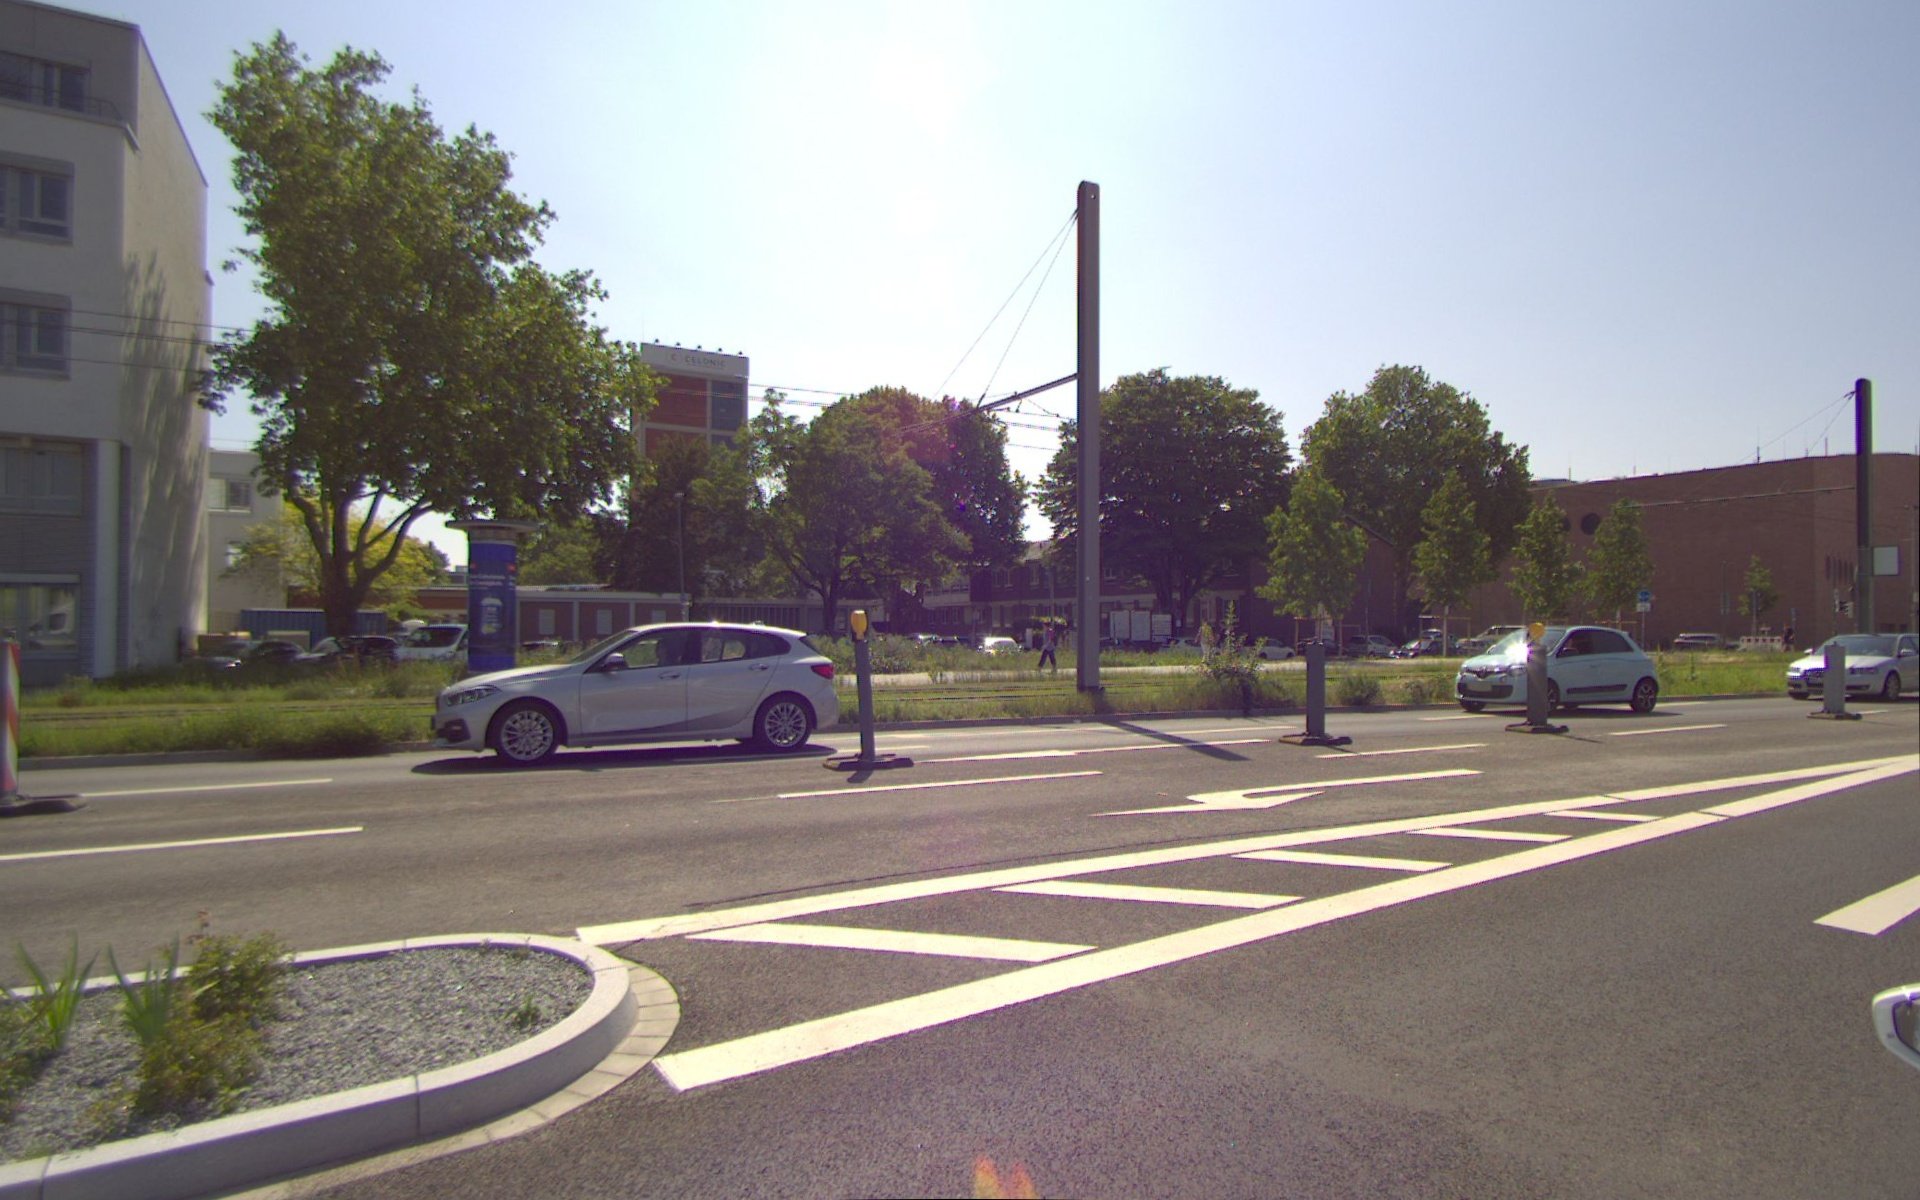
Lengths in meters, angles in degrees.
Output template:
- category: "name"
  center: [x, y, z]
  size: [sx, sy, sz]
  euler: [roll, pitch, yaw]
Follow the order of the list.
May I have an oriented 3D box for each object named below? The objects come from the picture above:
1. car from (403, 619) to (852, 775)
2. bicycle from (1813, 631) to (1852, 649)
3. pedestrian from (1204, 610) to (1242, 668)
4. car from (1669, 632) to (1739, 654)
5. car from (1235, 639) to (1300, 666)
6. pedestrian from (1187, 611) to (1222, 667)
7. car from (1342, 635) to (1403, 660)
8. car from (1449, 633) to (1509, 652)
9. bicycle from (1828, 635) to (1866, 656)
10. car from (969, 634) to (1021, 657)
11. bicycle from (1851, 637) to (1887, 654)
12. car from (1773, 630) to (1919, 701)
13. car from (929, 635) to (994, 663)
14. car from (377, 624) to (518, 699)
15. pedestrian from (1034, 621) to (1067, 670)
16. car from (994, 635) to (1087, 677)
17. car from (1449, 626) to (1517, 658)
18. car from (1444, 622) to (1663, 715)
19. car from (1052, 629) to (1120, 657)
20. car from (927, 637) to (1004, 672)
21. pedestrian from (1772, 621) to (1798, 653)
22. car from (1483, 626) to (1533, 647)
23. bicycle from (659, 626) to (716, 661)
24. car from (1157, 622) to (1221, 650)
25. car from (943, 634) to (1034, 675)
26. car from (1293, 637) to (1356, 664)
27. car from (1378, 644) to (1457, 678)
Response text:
- category: "car"
  center: [-3.550, 0.992, 11.117]
  size: [4.407, 1.462, 1.669]
  euler: [1, -3, -25]
- category: "bicycle"
  center: [61.666, 2.817, 70.990]
  size: [0.535, 1.228, 2.034]
  euler: [1, -1, -39]
- category: "pedestrian"
  center: [9.528, 1.401, 36.403]
  size: [0.898, 2.040, 0.980]
  euler: [1, 0, -26]
- category: "car"
  center: [50.013, 2.862, 67.586]
  size: [1.554, 1.388, 3.463]
  euler: [0, 0, -29]
- category: "car"
  center: [17.630, 2.986, 57.496]
  size: [3.747, 1.476, 1.529]
  euler: [1, -1, -33]
- category: "pedestrian"
  center: [9.083, 1.453, 37.319]
  size: [0.970, 2.040, 0.836]
  euler: [1, 0, -26]
- category: "car"
  center: [25.828, 2.942, 62.885]
  size: [3.741, 1.476, 1.532]
  euler: [1, -1, -29]
- category: "car"
  center: [41.494, 3.405, 80.413]
  size: [1.972, 1.421, 3.977]
  euler: [2, -1, -23]
- category: "bicycle"
  center: [65.173, 3.364, 73.829]
  size: [0.535, 1.472, 2.034]
  euler: [0, -1, -39]
- category: "car"
  center: [2.401, 3.120, 69.596]
  size: [3.308, 1.472, 1.529]
  euler: [1, 0, -31]
- category: "bicycle"
  center: [71.429, 3.557, 78.928]
  size: [0.535, 1.228, 2.034]
  euler: [0, -1, -39]
- category: "car"
  center: [19.842, 1.385, 21.901]
  size: [4.238, 1.435, 1.576]
  euler: [1, -2, -25]
- category: "car"
  center: [0.082, 2.725, 56.240]
  size: [3.308, 1.472, 1.529]
  euler: [1, 0, -31]
- category: "car"
  center: [-16.419, 1.899, 32.524]
  size: [2.072, 2.208, 5.076]
  euler: [0, -1, -2]
- category: "pedestrian"
  center: [2.999, 1.510, 33.383]
  size: [0.815, 1.597, 0.812]
  euler: [1, -1, -24]
- category: "car"
  center: [3.381, 2.312, 42.026]
  size: [3.600, 1.612, 1.757]
  euler: [1, 0, -34]
- category: "car"
  center: [30.488, 2.437, 58.539]
  size: [3.891, 1.784, 1.691]
  euler: [2, -1, -29]
- category: "car"
  center: [10.785, 1.224, 18.271]
  size: [3.568, 1.550, 1.577]
  euler: [1, -4, -22]
- category: "car"
  center: [7.204, 2.447, 57.528]
  size: [3.701, 1.476, 1.534]
  euler: [-1, -1, 45]
- category: "car"
  center: [0.301, 2.793, 51.881]
  size: [3.600, 1.612, 1.757]
  euler: [1, 0, -34]
- category: "pedestrian"
  center: [48.070, 2.140, 58.506]
  size: [1.093, 1.871, 0.808]
  euler: [1, -1, -27]
- category: "car"
  center: [47.187, 3.107, 86.537]
  size: [1.673, 1.712, 3.528]
  euler: [0, 0, -28]
- category: "bicycle"
  center: [-7.919, 1.252, 29.158]
  size: [1.537, 0.999, 0.458]
  euler: [1, -1, -26]
- category: "car"
  center: [13.015, 2.030, 56.862]
  size: [1.523, 1.476, 4.240]
  euler: [0, -2, 45]
- category: "car"
  center: [1.249, 2.314, 43.488]
  size: [3.600, 1.612, 1.757]
  euler: [1, 0, -34]
- category: "car"
  center: [21.644, 2.988, 59.594]
  size: [3.745, 1.476, 1.530]
  euler: [1, -1, -32]
- category: "car"
  center: [25.740, 3.408, 56.485]
  size: [4.476, 1.784, 1.691]
  euler: [2, -1, -29]
